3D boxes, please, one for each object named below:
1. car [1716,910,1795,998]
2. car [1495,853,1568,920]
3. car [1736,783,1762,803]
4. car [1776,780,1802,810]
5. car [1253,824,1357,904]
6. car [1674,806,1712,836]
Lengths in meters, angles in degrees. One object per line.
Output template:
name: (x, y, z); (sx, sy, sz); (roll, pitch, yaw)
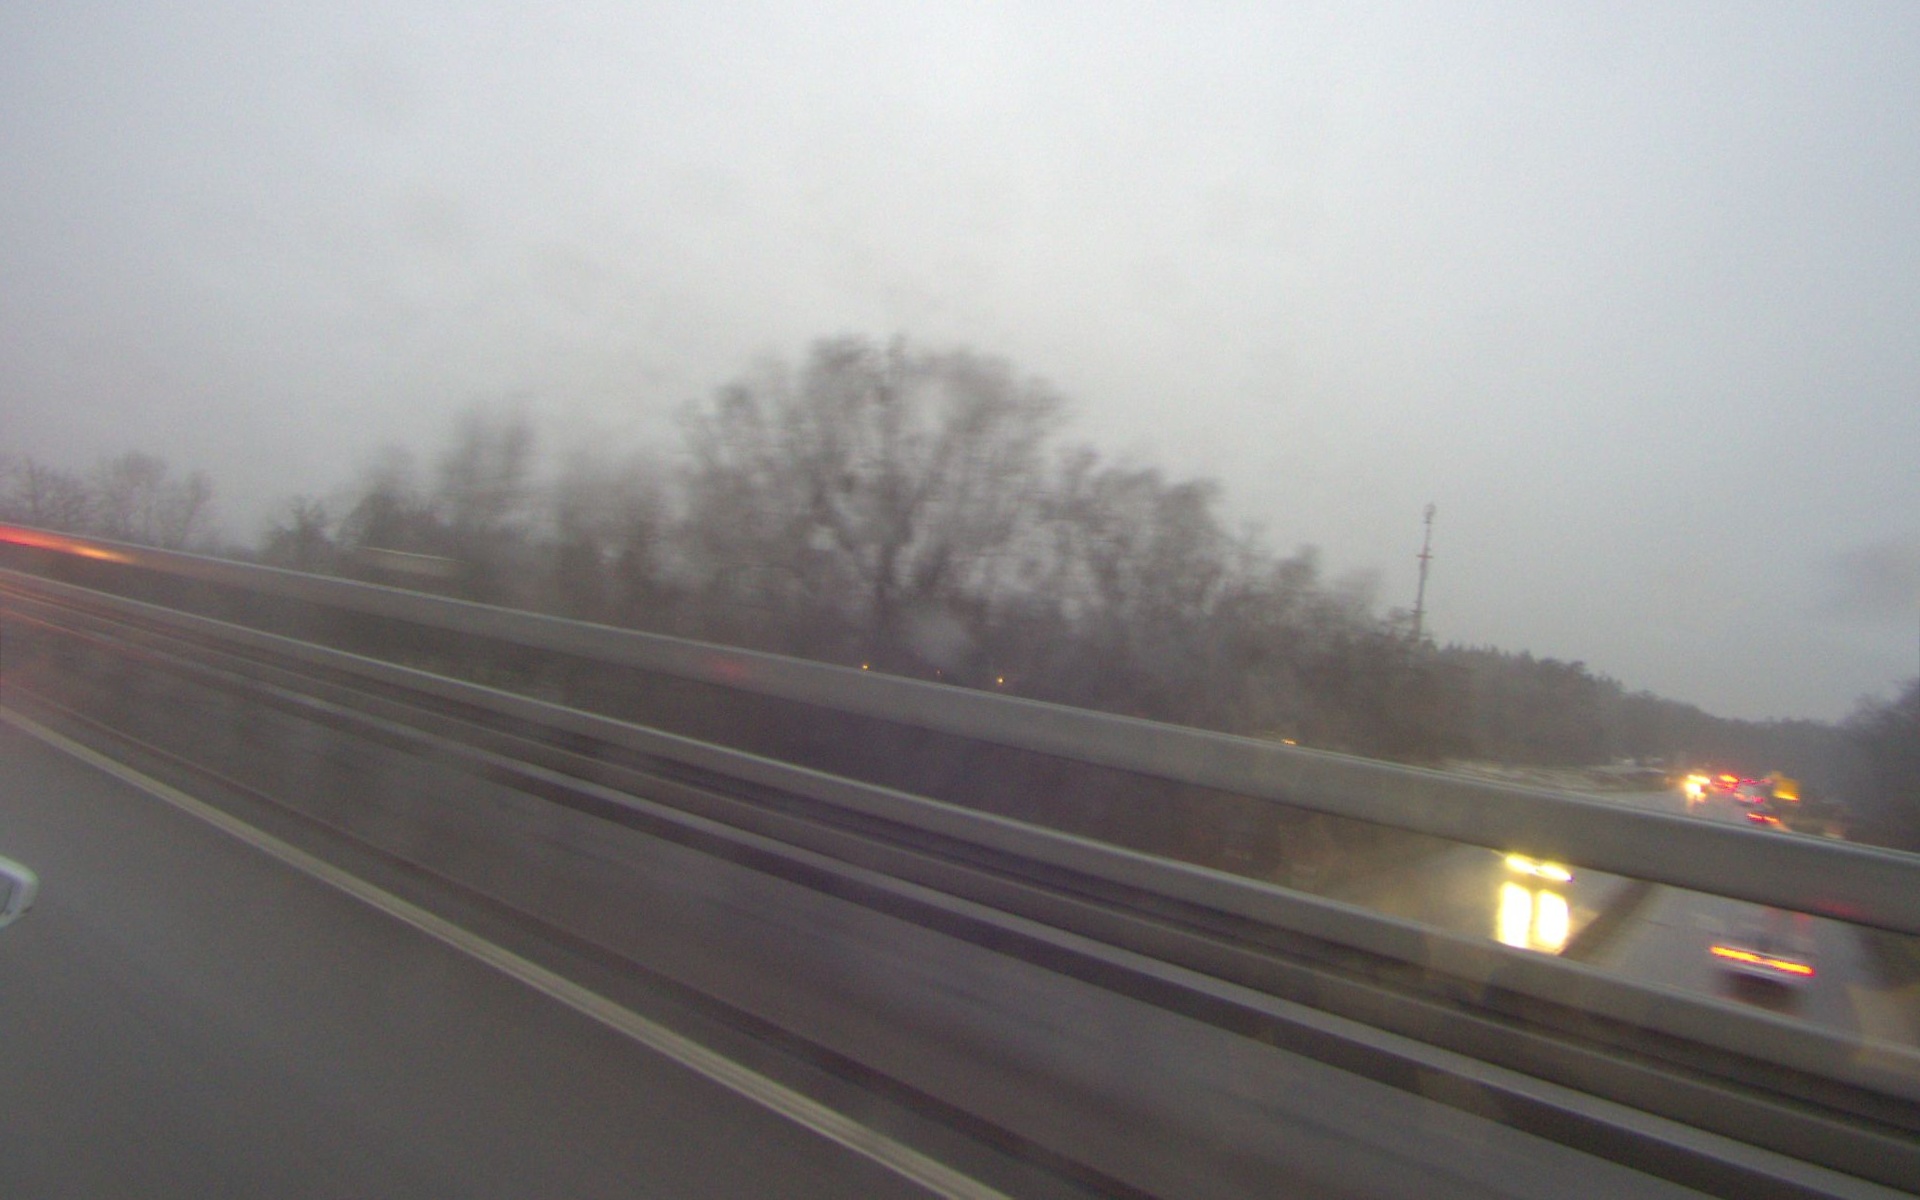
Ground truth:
car: (26.024, 11.510, 32.982); (1.765, 1.657, 3.976); (7, -1, 38)
car: (27.774, 13.804, 48.798); (1.971, 2.038, 5.690); (7, -1, 39)
car: (109.310, 26.663, 139.341); (2.225, 2.038, 5.685); (7, -1, 42)
car: (118.951, 27.955, 144.358); (2.511, 3.424, 6.630); (7, -1, 41)
car: (13.641, 10.260, 39.521); (1.970, 2.038, 5.693); (7, -1, 38)
car: (65.811, 19.772, 90.288); (1.973, 2.036, 5.687); (7, -2, 43)
